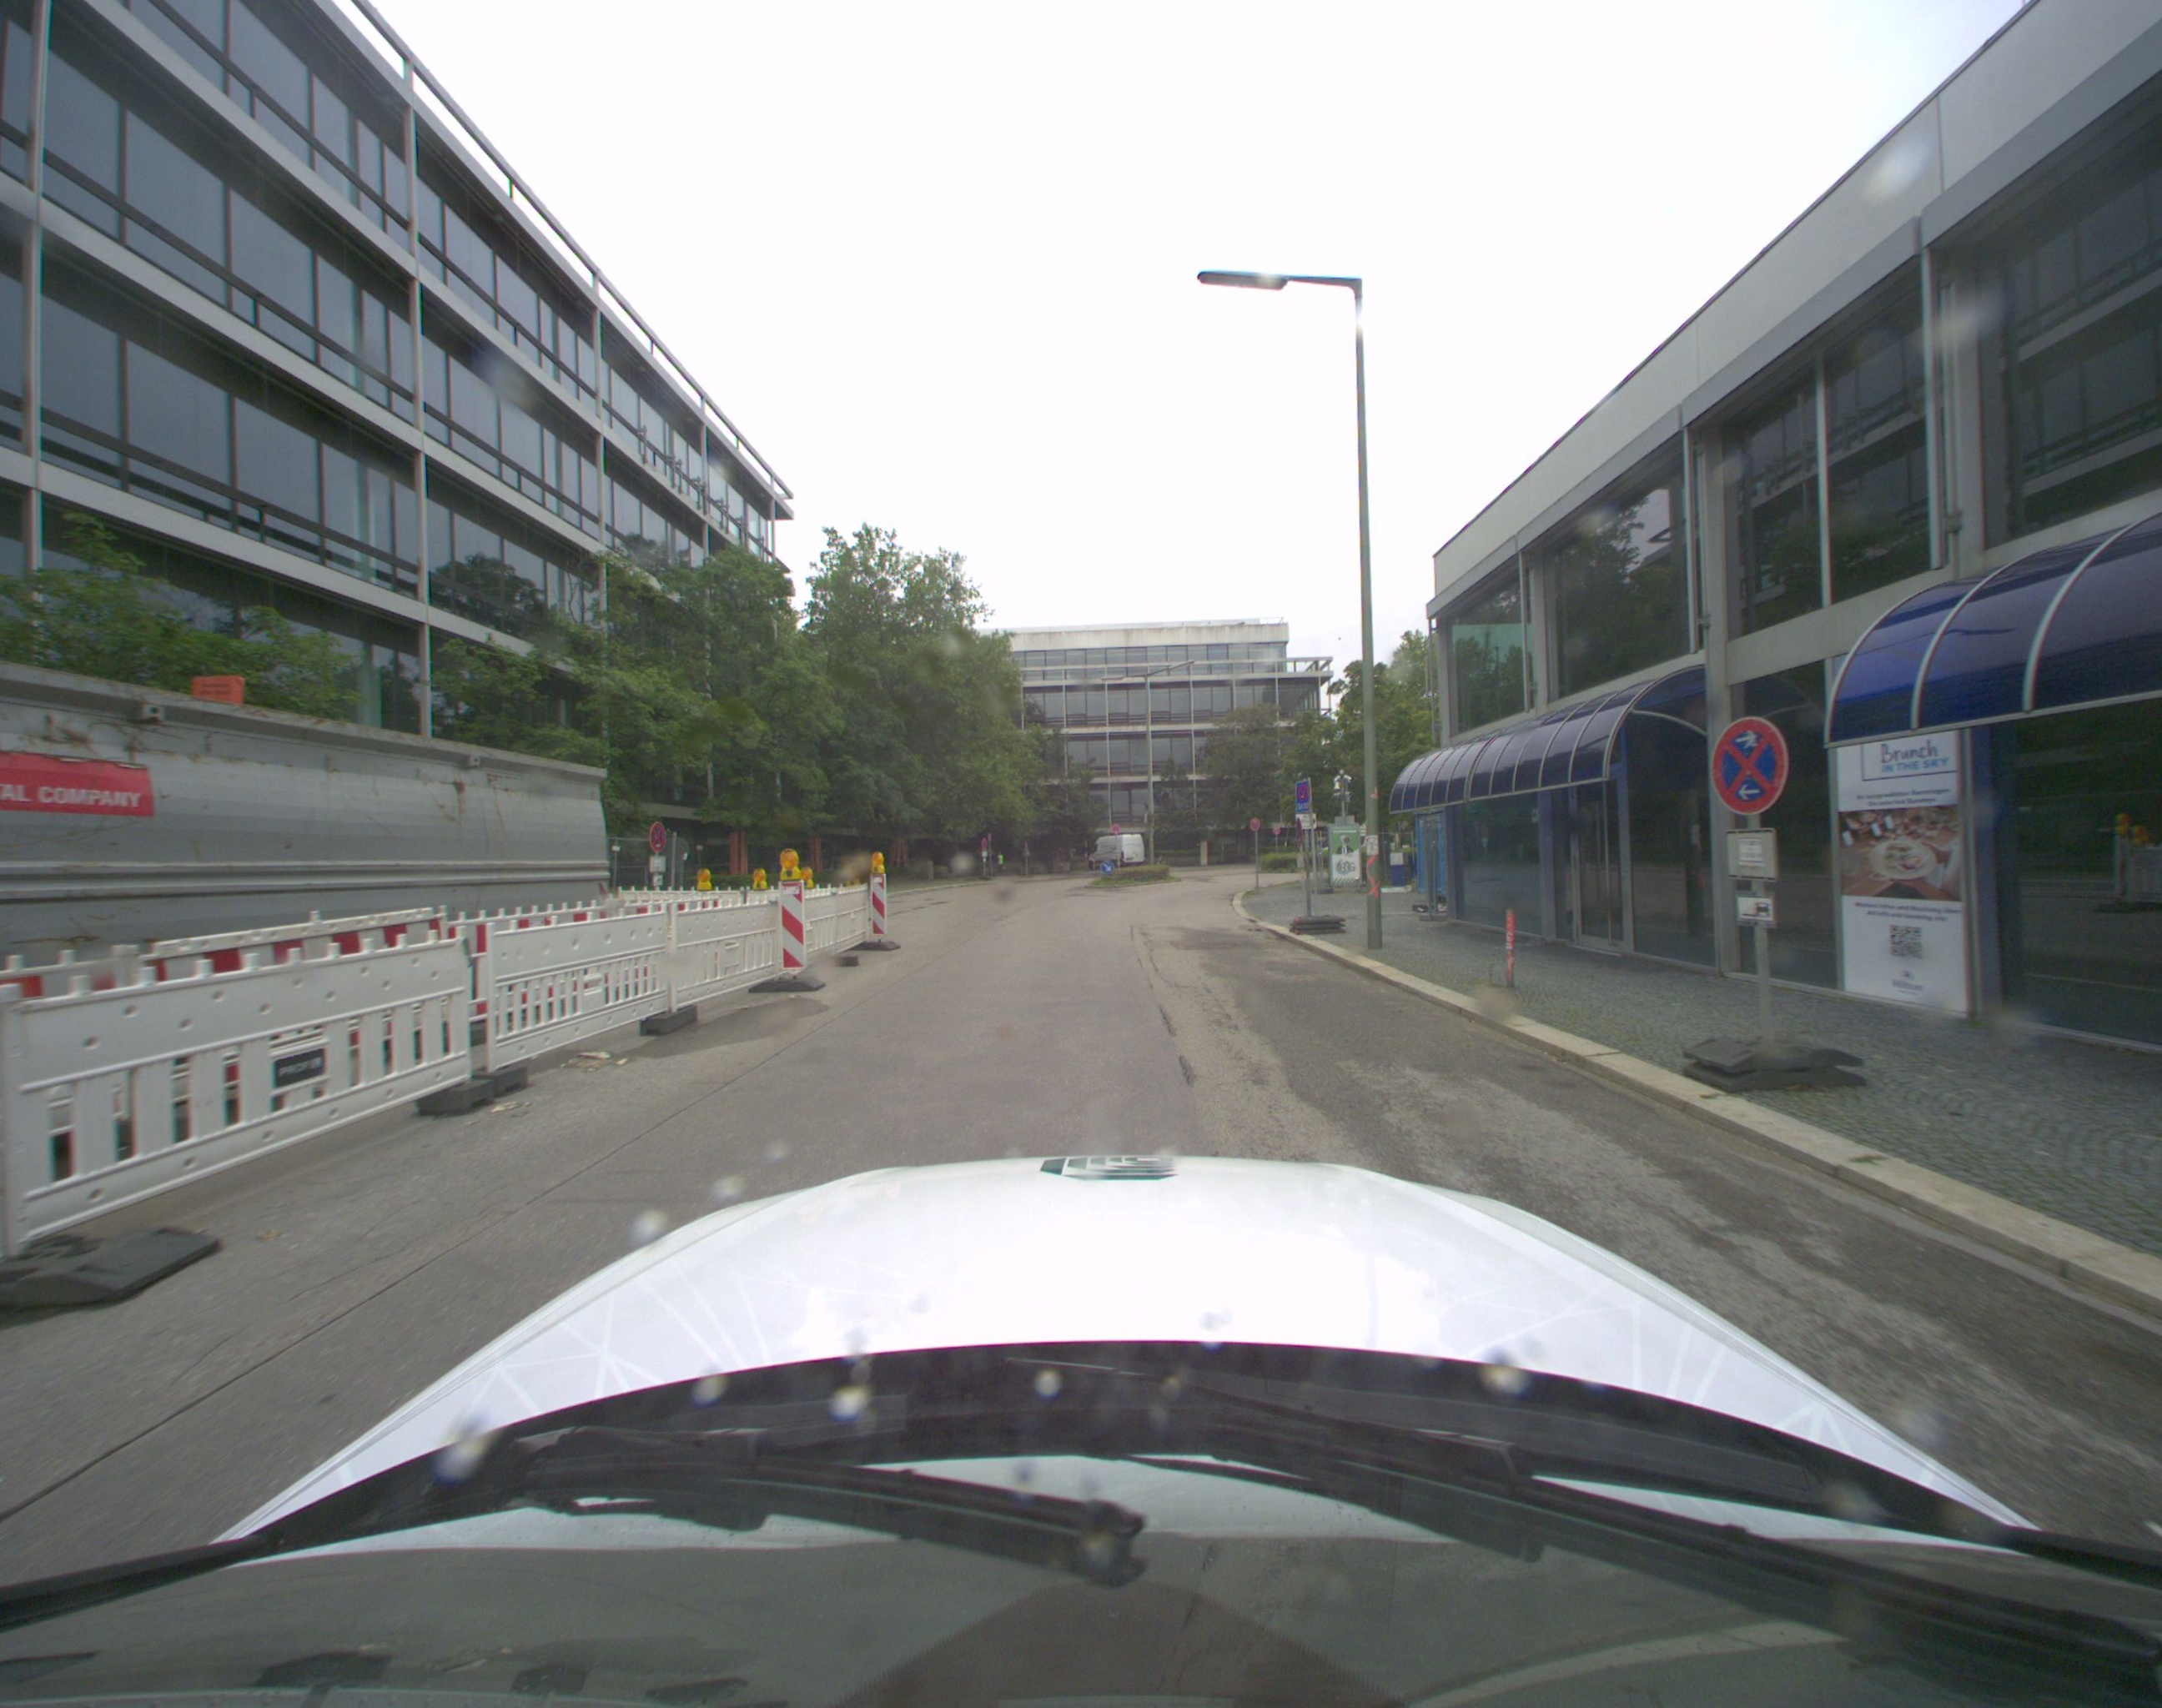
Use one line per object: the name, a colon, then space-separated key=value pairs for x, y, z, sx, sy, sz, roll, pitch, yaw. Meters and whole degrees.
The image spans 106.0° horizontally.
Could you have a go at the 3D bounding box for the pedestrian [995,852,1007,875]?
pedestrian: x=-6.087 y=0.730 z=61.881 sx=0.743 sy=1.677 sz=0.678 roll=-2 pitch=0 yaw=-17

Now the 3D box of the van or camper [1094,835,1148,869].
van or camper: x=3.045 y=-0.148 z=62.929 sx=2.095 sy=2.492 sz=5.027 roll=-2 pitch=0 yaw=-23

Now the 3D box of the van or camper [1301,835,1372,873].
van or camper: x=18.661 y=-0.002 z=59.673 sx=4.448 sy=2.585 sz=2.102 roll=-2 pitch=0 yaw=-9
